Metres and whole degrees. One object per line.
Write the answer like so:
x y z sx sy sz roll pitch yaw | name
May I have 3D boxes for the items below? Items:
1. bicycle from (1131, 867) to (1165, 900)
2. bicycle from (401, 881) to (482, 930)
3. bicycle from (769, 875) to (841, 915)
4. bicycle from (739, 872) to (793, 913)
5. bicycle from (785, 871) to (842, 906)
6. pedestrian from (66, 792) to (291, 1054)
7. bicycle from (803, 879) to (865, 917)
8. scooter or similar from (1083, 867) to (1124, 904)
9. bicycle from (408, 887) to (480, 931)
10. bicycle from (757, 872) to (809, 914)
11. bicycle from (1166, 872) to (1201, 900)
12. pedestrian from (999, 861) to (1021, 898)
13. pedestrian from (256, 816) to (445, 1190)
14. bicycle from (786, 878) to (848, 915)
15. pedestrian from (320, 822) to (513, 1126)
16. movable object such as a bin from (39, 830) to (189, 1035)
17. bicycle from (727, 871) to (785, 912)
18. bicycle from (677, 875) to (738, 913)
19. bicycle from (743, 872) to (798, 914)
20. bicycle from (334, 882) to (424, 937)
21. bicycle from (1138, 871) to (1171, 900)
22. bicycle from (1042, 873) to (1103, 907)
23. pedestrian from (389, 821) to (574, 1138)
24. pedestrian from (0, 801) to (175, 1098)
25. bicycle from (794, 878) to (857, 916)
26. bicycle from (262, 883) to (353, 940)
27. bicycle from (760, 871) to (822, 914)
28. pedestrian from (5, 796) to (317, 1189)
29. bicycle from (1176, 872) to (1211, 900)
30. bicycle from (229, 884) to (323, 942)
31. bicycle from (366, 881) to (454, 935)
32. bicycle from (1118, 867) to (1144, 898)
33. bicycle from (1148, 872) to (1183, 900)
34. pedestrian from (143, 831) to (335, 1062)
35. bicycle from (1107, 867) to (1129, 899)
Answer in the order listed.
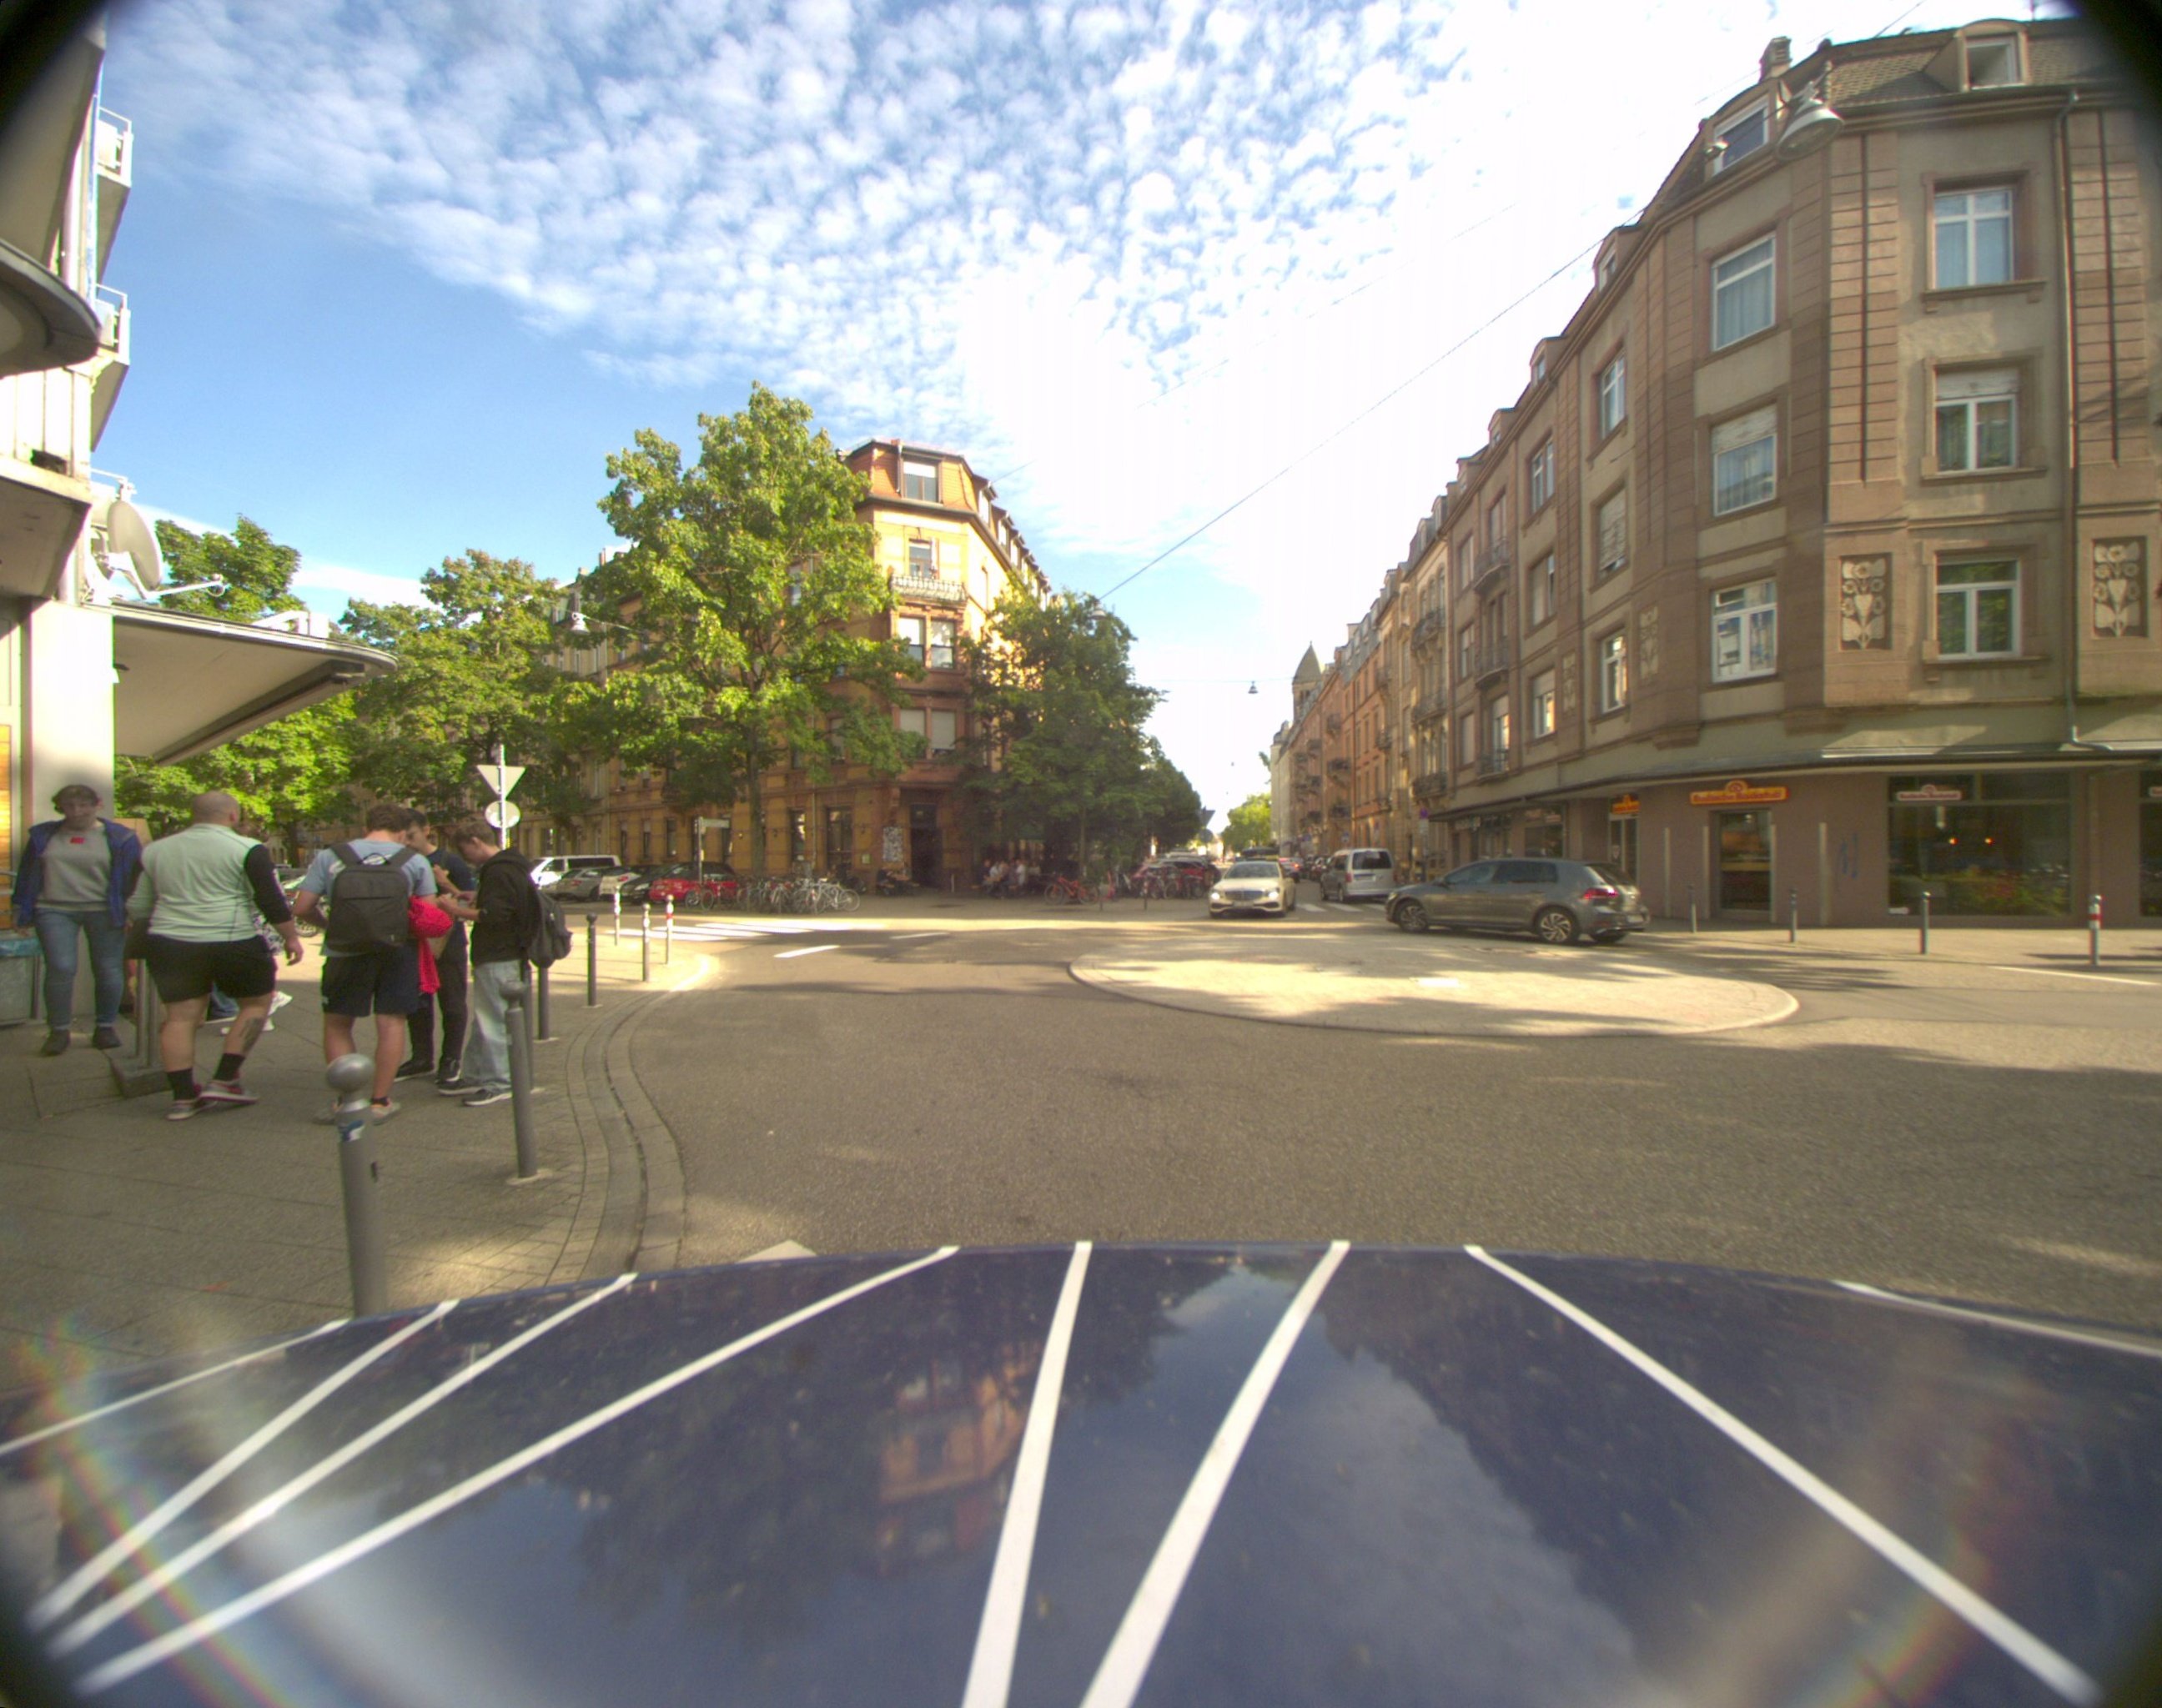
2.480 1.093 28.379 0.476 1.136 1.835 1 1 -21 | bicycle
-15.614 1.237 18.554 1.850 1.169 0.414 0 -1 10 | bicycle
-8.424 1.227 23.268 2.049 1.083 0.447 -3 3 -42 | bicycle
-10.239 1.224 24.749 0.447 1.195 1.715 0 2 27 | bicycle
-9.324 1.187 26.583 0.598 1.108 1.803 1 3 39 | bicycle
-7.586 0.542 6.468 0.865 2.001 1.032 1 -1 -27 | pedestrian
-7.296 1.290 22.497 1.715 0.964 0.447 -3 3 -42 | bicycle
0.773 1.055 25.813 1.289 1.203 0.557 0 -2 37 | scooter or similar
-14.956 1.291 17.857 1.421 0.995 0.493 0 -1 10 | bicycle
-9.435 1.213 24.104 0.447 1.195 1.714 0 2 21 | bicycle
3.894 1.225 29.100 0.472 0.979 1.861 1 1 -21 | bicycle
-2.545 0.927 27.362 0.729 1.307 0.521 -1 0 -2 | pedestrian
-3.937 0.713 4.096 0.712 1.786 0.634 2 0 43 | pedestrian
-7.999 1.282 23.051 1.715 0.981 0.447 -3 3 -42 | bicycle
-4.289 0.714 4.930 0.653 1.786 0.660 2 0 23 | pedestrian
-9.156 0.685 7.184 1.545 1.744 0.692 0 -1 32 | movable object such as a bin
-10.694 1.217 25.049 0.447 1.195 1.716 1 3 39 | bicycle
-12.048 1.278 24.456 2.493 1.090 0.583 0 4 35 | bicycle
-9.928 1.232 24.364 0.447 1.195 1.715 0 2 27 | bicycle
-15.393 1.212 16.662 1.850 1.169 0.414 0 -1 10 | bicycle
2.753 1.182 28.722 0.418 0.979 1.835 1 1 -21 | bicycle
-0.264 1.114 24.029 1.854 1.029 0.684 0 1 9 | bicycle
-3.673 0.720 4.722 0.716 1.786 0.631 3 0 -25 | pedestrian
-6.545 0.565 4.904 0.767 1.743 0.928 -1 0 -43 | pedestrian
-7.645 1.275 22.790 1.715 0.981 0.447 -3 3 -42 | bicycle
-15.668 1.147 15.389 1.695 1.079 0.422 1 0 11 | bicycle
-8.979 1.177 23.541 1.715 1.195 0.447 -3 3 -42 | bicycle
-4.945 0.640 4.198 0.889 1.824 1.044 1 1 -38 | pedestrian
4.315 1.205 29.264 0.472 0.979 1.861 1 1 -21 | bicycle
-15.970 1.154 15.075 1.695 1.079 0.422 1 0 11 | bicycle
-15.027 1.203 17.016 1.850 1.169 0.414 0 -1 10 | bicycle
1.879 1.065 28.685 0.475 1.094 1.672 1 1 -15 | bicycle
3.194 1.206 28.894 0.472 0.979 1.861 1 1 -21 | bicycle
-6.669 0.701 6.049 0.841 1.743 0.614 -1 0 3 | pedestrian
1.380 1.079 28.530 0.434 1.094 1.673 1 1 -10 | bicycle
